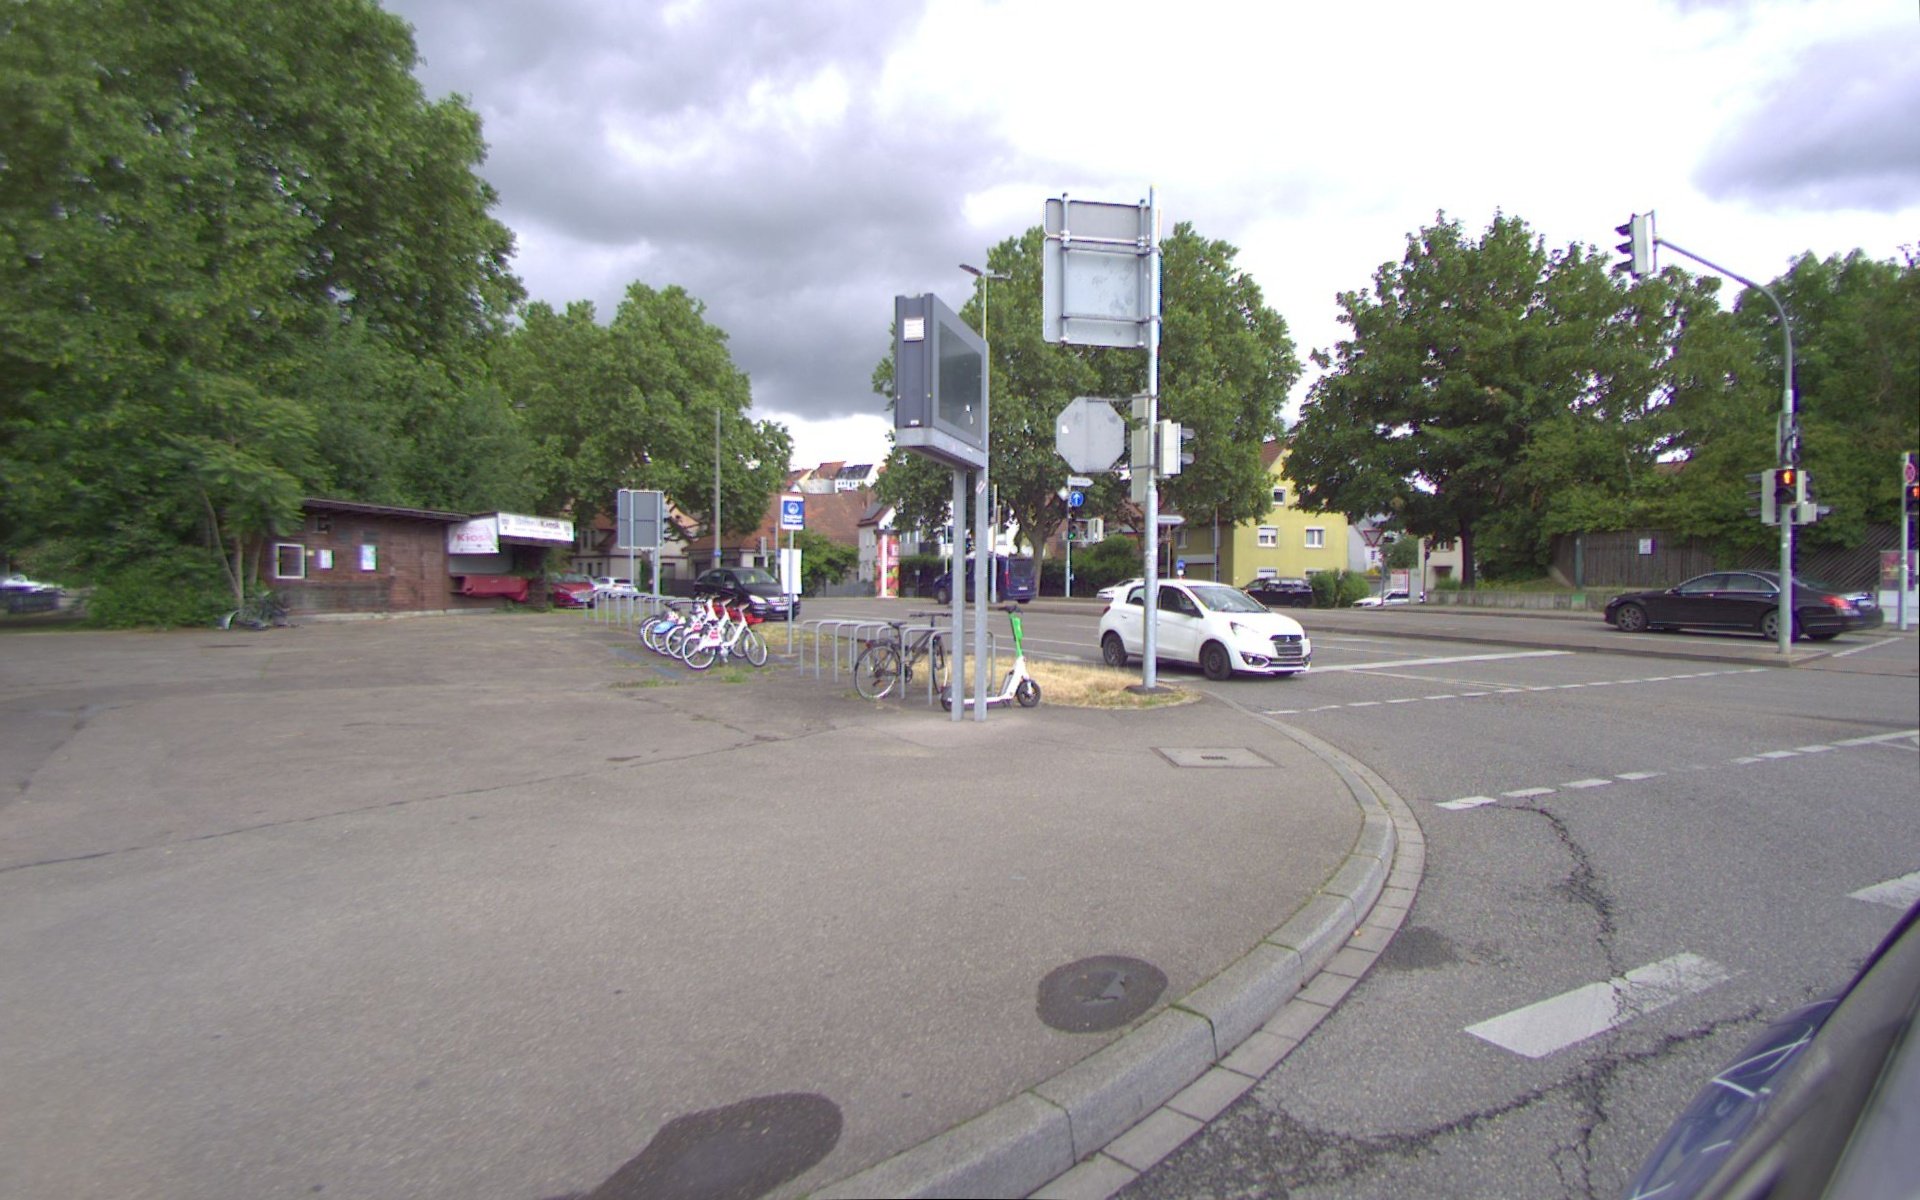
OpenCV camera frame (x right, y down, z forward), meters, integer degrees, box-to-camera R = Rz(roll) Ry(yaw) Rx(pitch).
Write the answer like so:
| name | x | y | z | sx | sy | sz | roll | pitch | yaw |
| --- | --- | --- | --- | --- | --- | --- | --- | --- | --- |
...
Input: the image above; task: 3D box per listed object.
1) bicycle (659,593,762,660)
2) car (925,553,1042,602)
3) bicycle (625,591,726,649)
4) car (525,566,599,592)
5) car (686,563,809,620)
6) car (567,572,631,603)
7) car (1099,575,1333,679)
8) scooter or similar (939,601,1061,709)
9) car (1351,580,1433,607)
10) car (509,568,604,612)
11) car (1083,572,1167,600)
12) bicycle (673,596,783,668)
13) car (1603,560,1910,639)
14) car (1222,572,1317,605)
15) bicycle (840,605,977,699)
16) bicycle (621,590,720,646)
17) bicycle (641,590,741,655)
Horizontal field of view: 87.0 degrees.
| name | x | y | z | sx | sy | sz | roll | pitch | yaw |
| --- | --- | --- | --- | --- | --- | --- | --- | --- | --- |
| bicycle | -4.618 | 0.462 | 18.795 | 1.781 | 1.129 | 0.582 | -2 | 4 | -38 |
| car | 0.824 | -0.863 | 38.279 | 1.802 | 1.727 | 4.464 | -1 | 2 | -45 |
| bicycle | -5.650 | 0.382 | 20.134 | 1.847 | 1.064 | 0.598 | -1 | 3 | -33 |
| car | -27.976 | -1.488 | 71.273 | 1.717 | 1.720 | 4.838 | 2 | 2 | 30 |
| car | -6.450 | -0.306 | 30.451 | 1.693 | 1.550 | 4.178 | -3 | 3 | -43 |
| car | -18.433 | -0.679 | 51.640 | 3.570 | 1.447 | 1.646 | 3 | 3 | 43 |
| car | 3.983 | 0.334 | 16.300 | 1.641 | 1.466 | 3.609 | -1 | 2 | -29 |
| scooter or similar | 0.450 | 0.587 | 11.359 | 1.206 | 1.126 | 0.656 | -1 | 1 | -27 |
| car | 23.483 | -0.367 | 55.107 | 3.798 | 1.415 | 1.667 | 0 | 2 | -11 |
| car | -16.643 | -0.467 | 41.644 | 4.492 | 1.636 | 1.869 | 3 | 3 | 42 |
| car | 8.274 | -0.720 | 50.759 | 3.723 | 1.337 | 1.816 | 0 | 1 | -22 |
| bicycle | -4.013 | 0.525 | 17.560 | 1.781 | 1.129 | 0.582 | -2 | 4 | -38 |
| car | 17.260 | -0.112 | 22.293 | 1.794 | 1.468 | 5.005 | -1 | 3 | -26 |
| car | 16.183 | -0.635 | 52.976 | 4.495 | 1.673 | 1.816 | 0 | 1 | -15 |
| bicycle | -0.627 | 0.612 | 12.641 | 1.670 | 1.058 | 0.608 | -1 | 1 | -37 |
| bicycle | -5.929 | 0.356 | 20.772 | 1.847 | 1.064 | 0.598 | -1 | 3 | -33 |
| bicycle | -5.136 | 0.405 | 19.369 | 1.781 | 1.129 | 0.582 | -2 | 4 | -38 |
